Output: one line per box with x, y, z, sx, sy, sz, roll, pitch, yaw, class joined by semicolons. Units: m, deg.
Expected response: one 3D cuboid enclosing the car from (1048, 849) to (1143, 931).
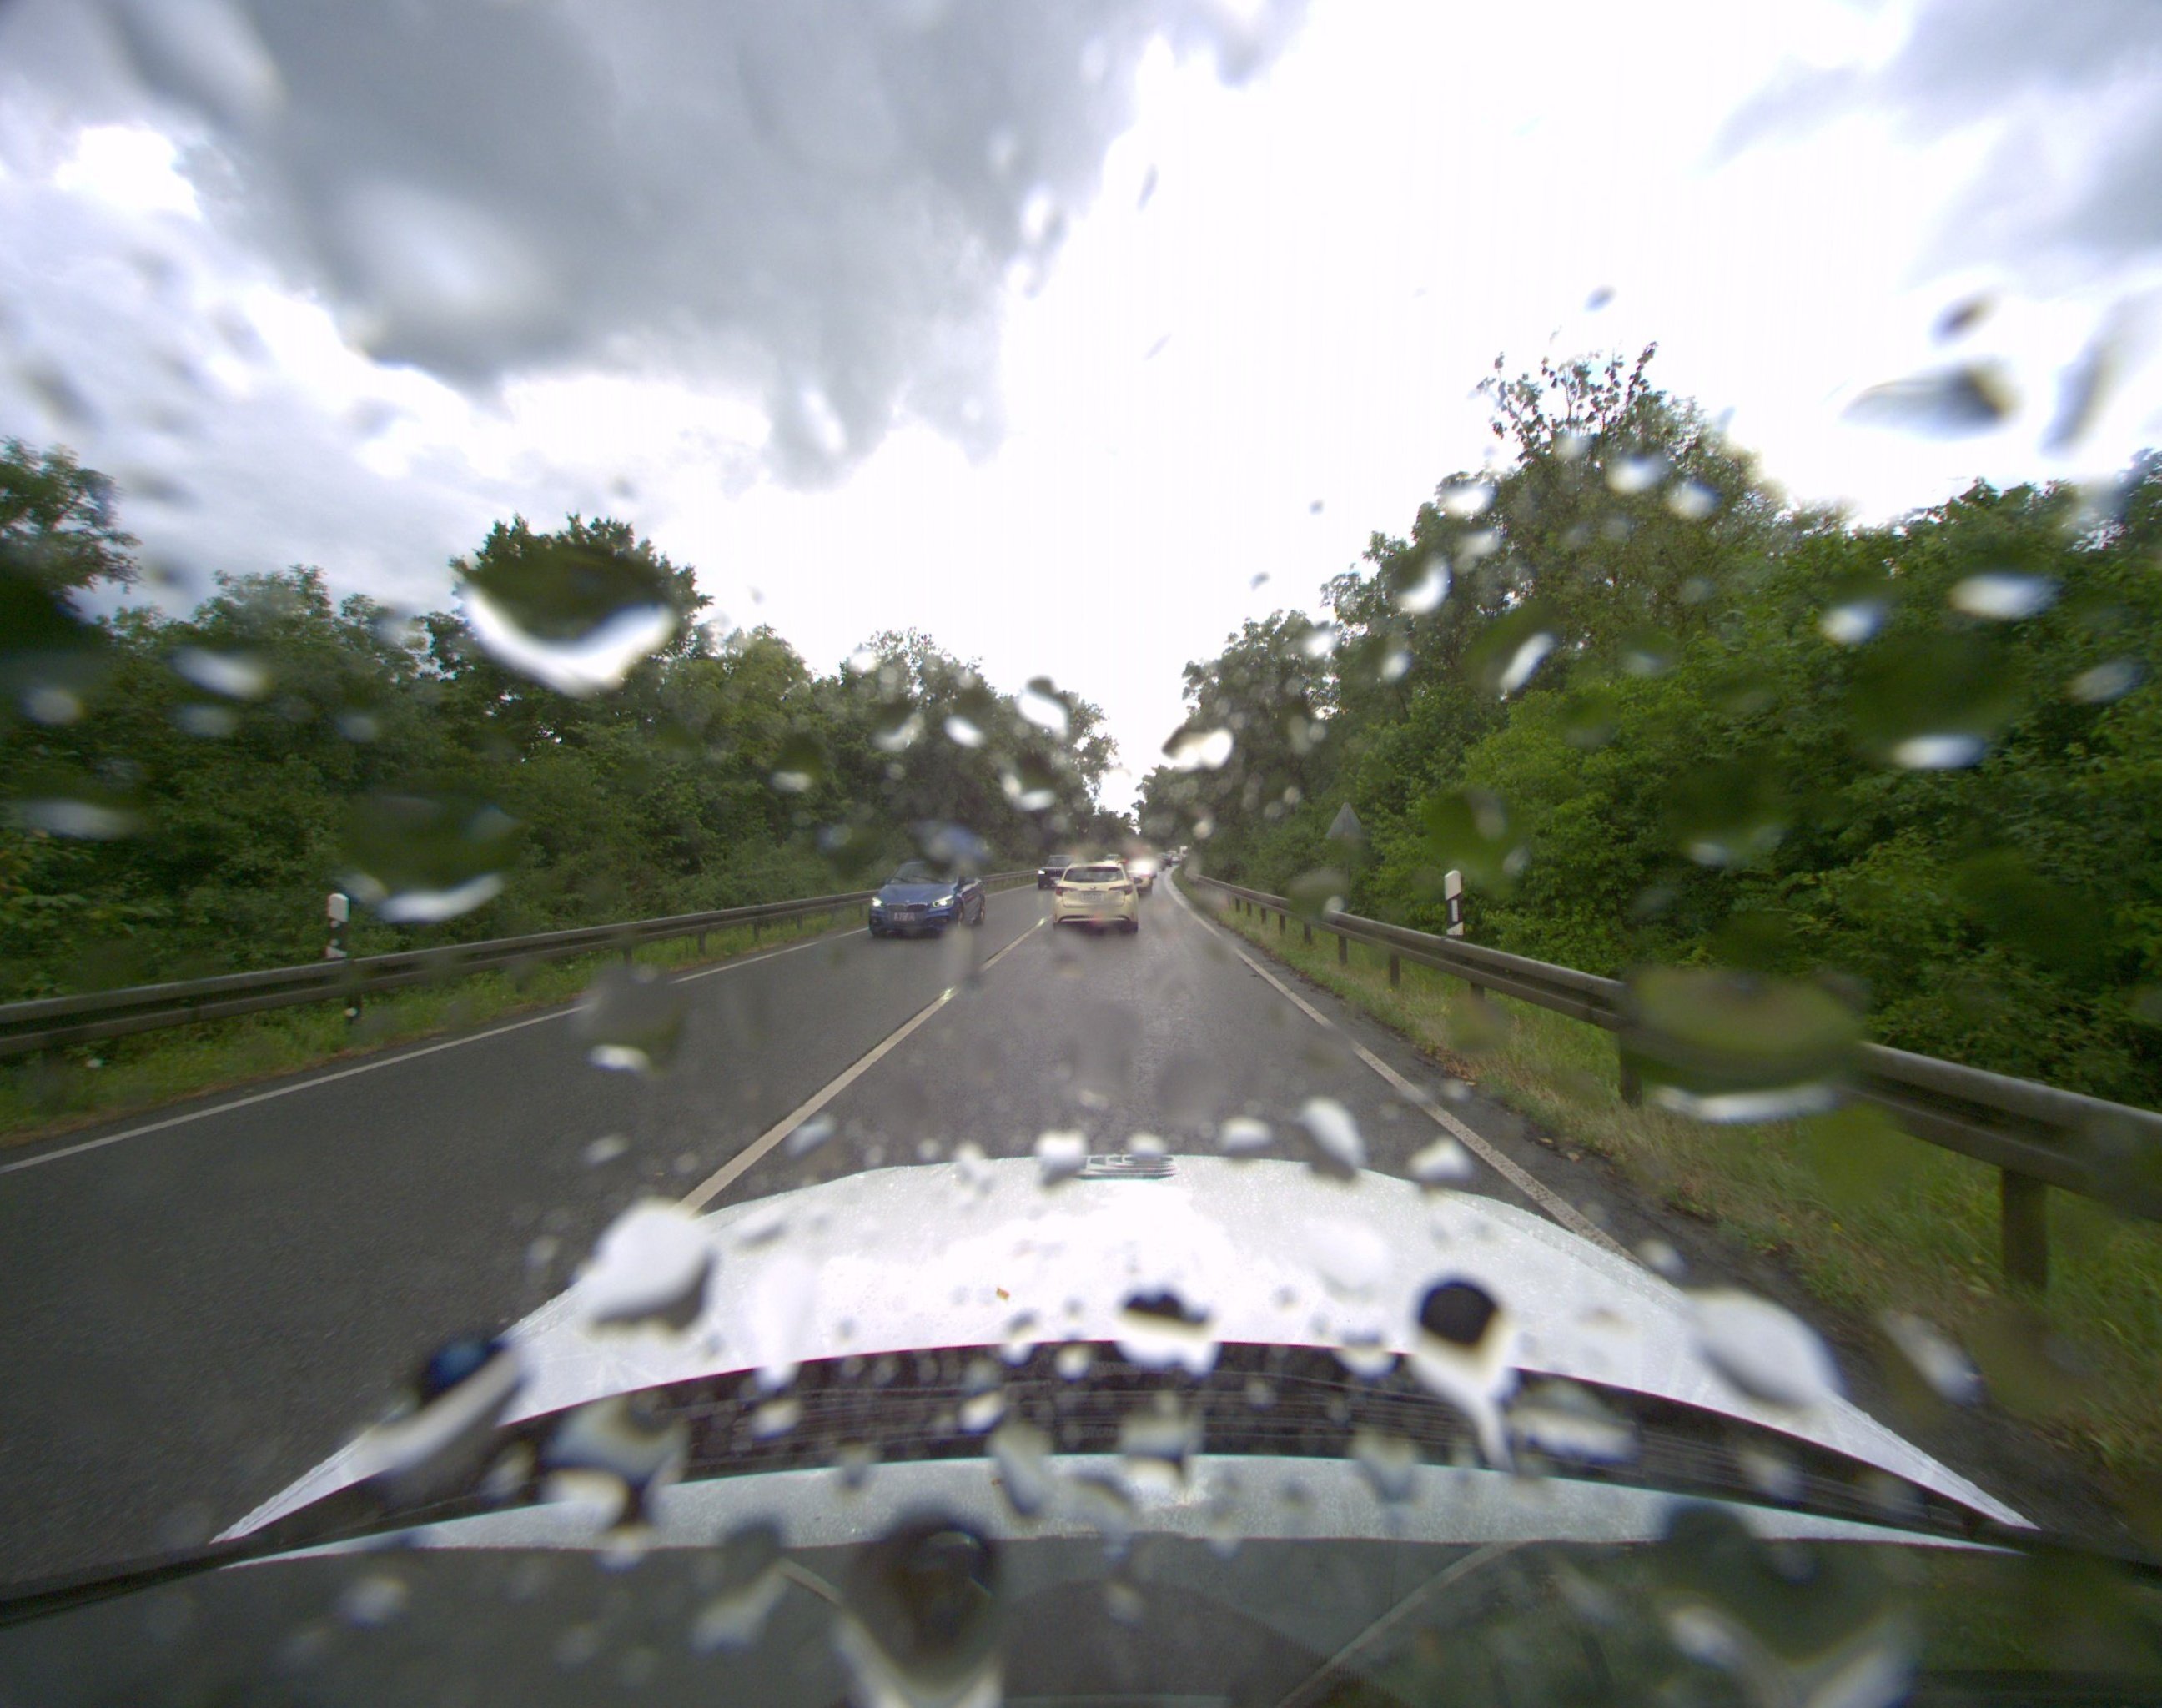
0.383;0.730;17.927;1.826;1.580;4.159;0;-1;3;car

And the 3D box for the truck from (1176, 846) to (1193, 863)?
17.564;0.104;138.565;2.537;2.713;7.546;0;-1;5;truck

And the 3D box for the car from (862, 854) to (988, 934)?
-3.195;0.791;17.441;1.700;1.516;3.916;0;-1;3;car

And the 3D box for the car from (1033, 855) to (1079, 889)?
-1.199;0.871;41.452;1.838;1.644;4.304;0;0;5;car

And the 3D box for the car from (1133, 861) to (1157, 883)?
4.603;1.292;58.706;1.604;1.547;3.818;-1;-1;4;car

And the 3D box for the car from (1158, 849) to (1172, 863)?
9.991;0.288;96.953;1.607;1.613;3.628;0;-1;7;car

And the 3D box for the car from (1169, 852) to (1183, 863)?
13.568;0.541;116.372;1.758;1.547;3.825;-1;-1;10;car

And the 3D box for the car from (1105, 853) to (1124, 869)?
3.358;0.657;80.284;1.684;1.555;4.447;0;0;4;car

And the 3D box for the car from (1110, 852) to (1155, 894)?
2.075;0.734;32.634;1.660;1.580;3.896;0;-1;4;car

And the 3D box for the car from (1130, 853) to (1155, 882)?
3.412;0.726;45.458;1.295;1.547;3.263;0;-1;4;car

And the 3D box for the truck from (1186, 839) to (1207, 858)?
23.143;-0.997;163.062;3.084;3.680;7.029;-1;-1;16;truck

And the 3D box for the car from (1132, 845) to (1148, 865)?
8.316;0.125;113.756;2.038;2.677;6.180;-1;-1;5;car

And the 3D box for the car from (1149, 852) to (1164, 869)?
7.264;0.646;78.559;1.160;1.547;2.611;-1;-1;10;car
